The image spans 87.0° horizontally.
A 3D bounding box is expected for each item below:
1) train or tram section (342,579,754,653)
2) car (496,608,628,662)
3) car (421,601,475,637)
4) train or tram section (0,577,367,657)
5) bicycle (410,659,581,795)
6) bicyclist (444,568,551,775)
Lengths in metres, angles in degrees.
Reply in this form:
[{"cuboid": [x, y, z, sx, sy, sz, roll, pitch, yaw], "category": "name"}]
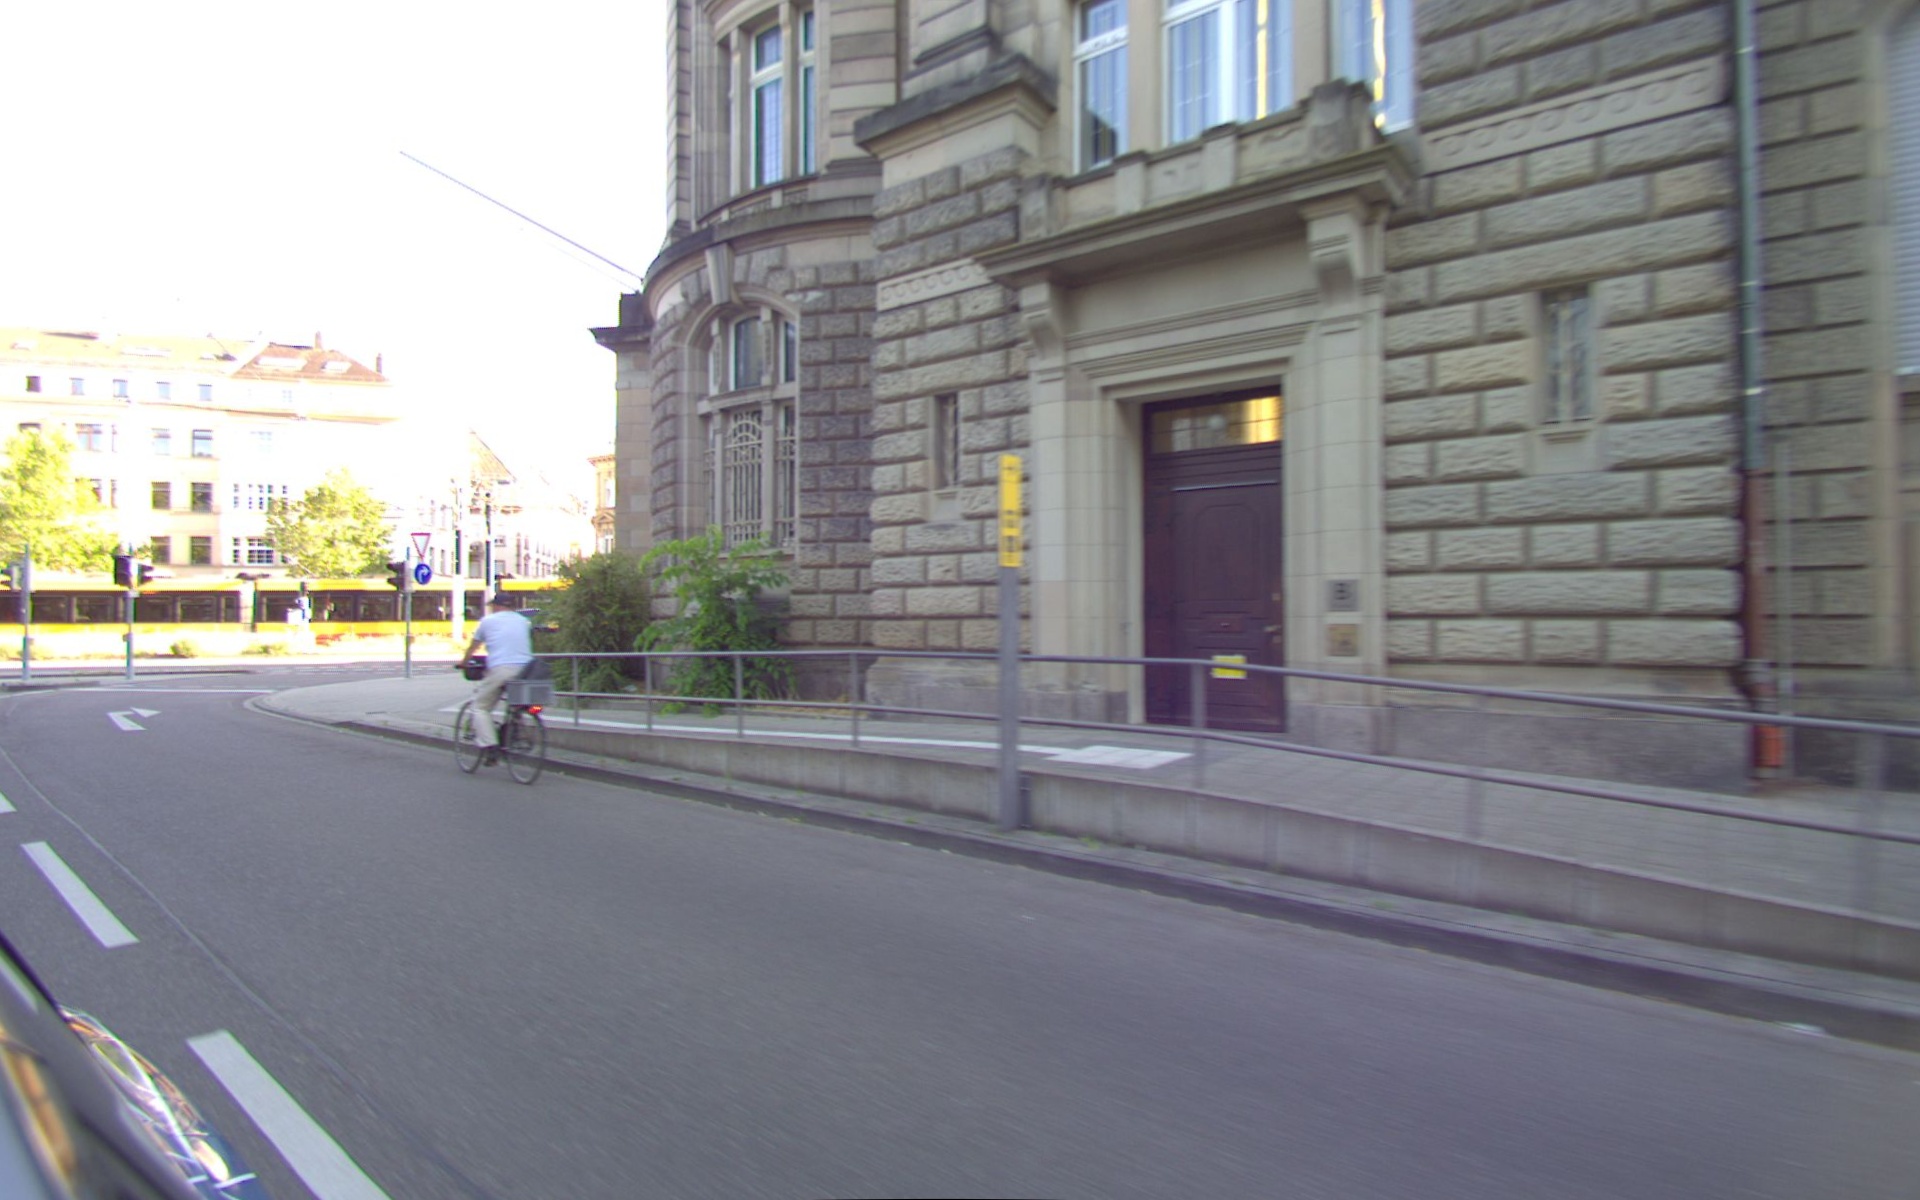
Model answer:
[{"cuboid": [-20.685, 0.795, 52.443, 19.609, 3.586, 3.129, 0, -1, -10], "category": "train or tram section"}, {"cuboid": [-13.550, 1.178, 34.669, 4.077, 1.745, 1.776, 0, -1, -16], "category": "car"}, {"cuboid": [-34.092, 1.278, 67.584, 2.427, 2.284, 7.314, 0, -1, -21], "category": "car"}, {"cuboid": [-38.403, 0.813, 48.340, 17.180, 3.586, 3.131, 0, -1, -16], "category": "train or tram section"}, {"cuboid": [-4.392, 1.121, 9.480, 2.153, 1.078, 0.655, -1, -2, 42], "category": "bicycle"}, {"cuboid": [-4.302, 0.641, 9.411, 0.780, 1.820, 0.638, -1, -2, 42], "category": "bicyclist"}]
